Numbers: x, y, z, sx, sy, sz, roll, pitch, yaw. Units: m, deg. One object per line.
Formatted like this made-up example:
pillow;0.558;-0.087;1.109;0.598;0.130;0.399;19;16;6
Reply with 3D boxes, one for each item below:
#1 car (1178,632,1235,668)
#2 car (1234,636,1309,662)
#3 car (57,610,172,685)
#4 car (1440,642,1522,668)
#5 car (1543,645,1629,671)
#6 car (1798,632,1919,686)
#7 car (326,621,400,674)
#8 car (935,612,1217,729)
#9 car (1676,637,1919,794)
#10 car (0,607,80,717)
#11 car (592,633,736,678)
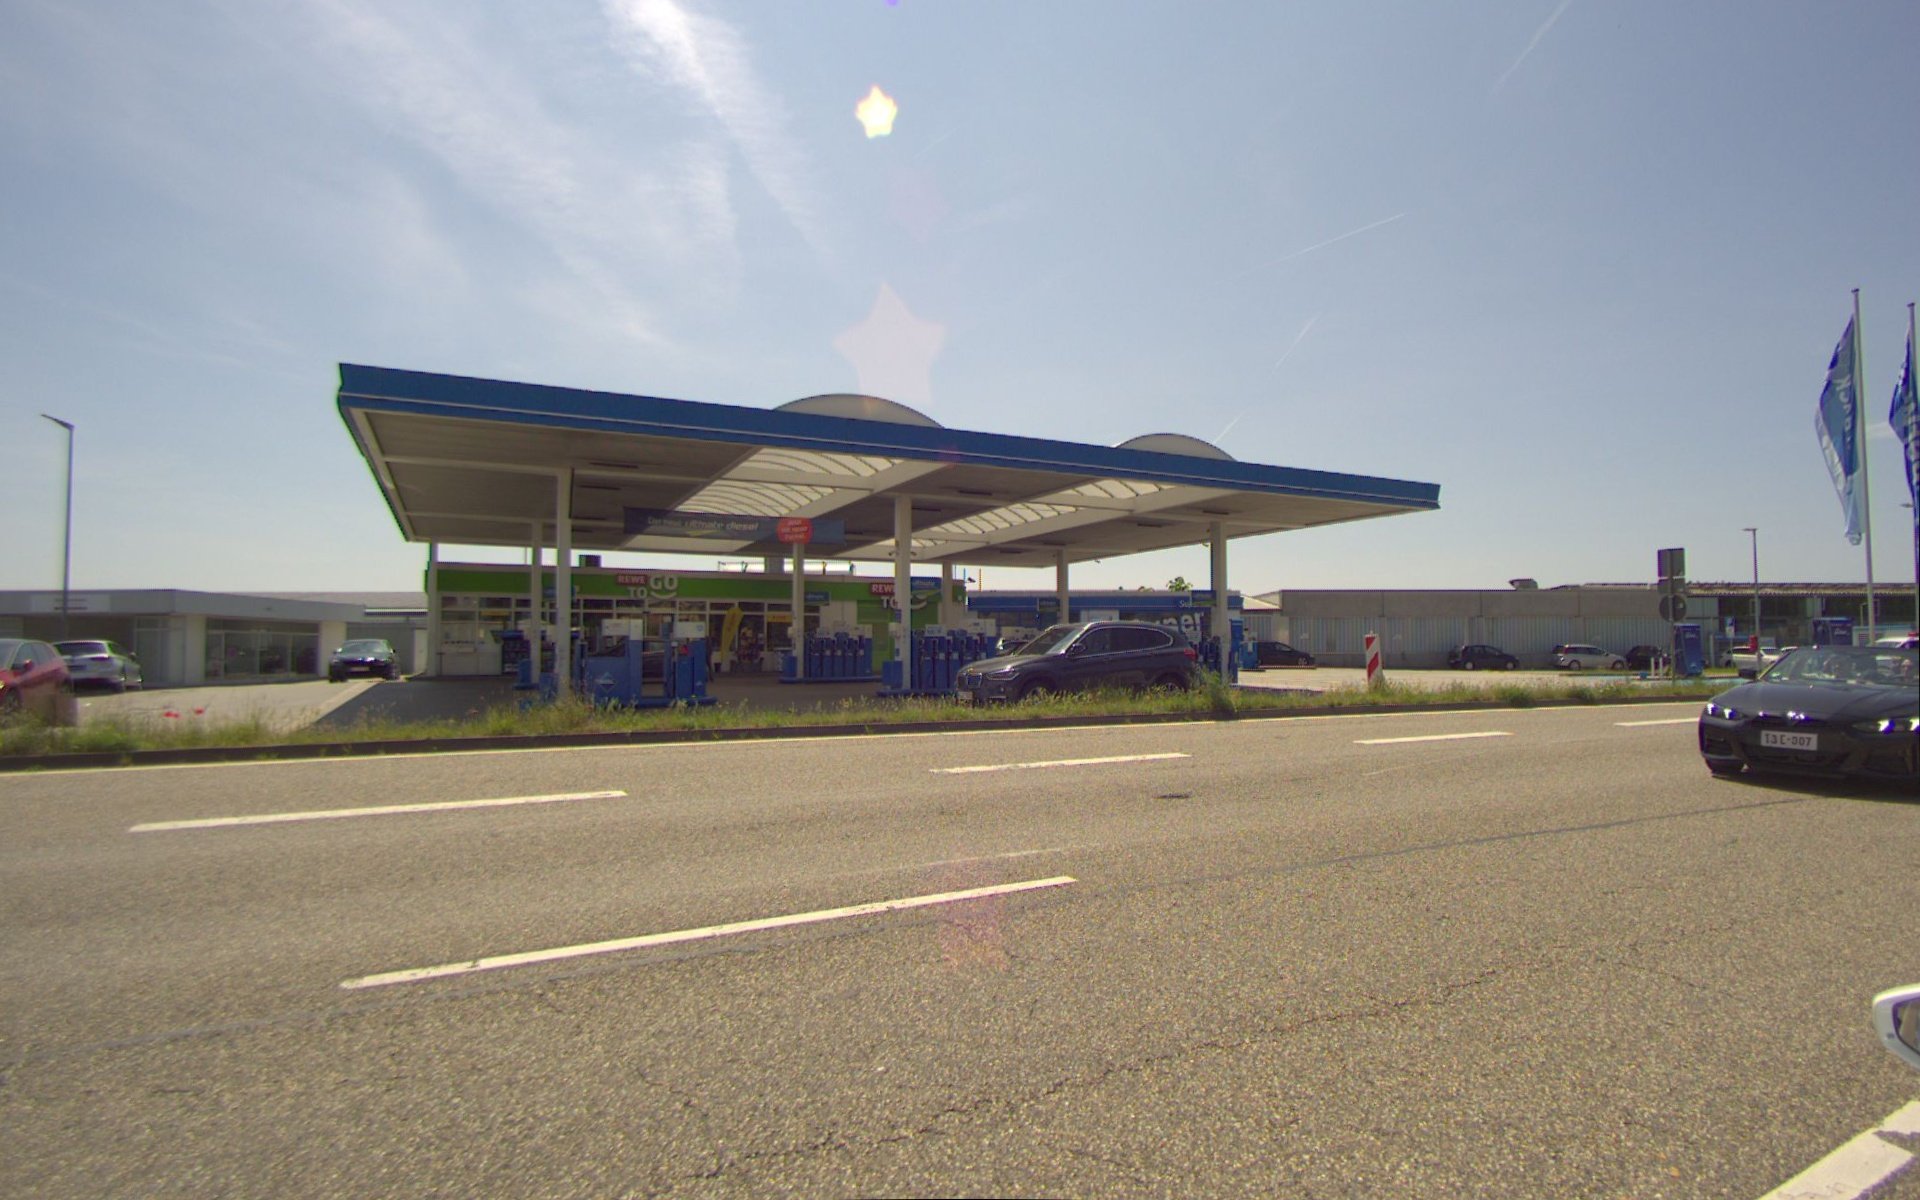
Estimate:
car;11.866;2.405;48.600;1.908;1.628;4.002;0;-2;2
car;17.905;2.799;57.841;3.822;1.461;1.760;0;-2;1
car;-23.713;1.404;28.313;1.842;1.946;3.968;1;-5;-32
car;30.126;3.172;58.106;3.822;1.461;1.760;0;-2;1
car;36.257;3.360;58.248;3.821;1.461;1.761;0;-2;3
car;31.824;2.031;34.481;4.428;1.734;1.870;2;-2;4
car;-19.957;1.551;33.714;1.924;1.661;3.971;2;-2;-28
car;1.993;1.131;16.865;4.513;1.741;1.821;2;-2;-29
car;9.463;1.106;10.560;4.134;1.288;1.837;3;-2;-34
car;-18.360;1.108;18.839;1.976;1.929;3.969;2;-2;-30
car;-9.807;1.825;33.278;4.324;1.396;1.987;2;-2;-26
